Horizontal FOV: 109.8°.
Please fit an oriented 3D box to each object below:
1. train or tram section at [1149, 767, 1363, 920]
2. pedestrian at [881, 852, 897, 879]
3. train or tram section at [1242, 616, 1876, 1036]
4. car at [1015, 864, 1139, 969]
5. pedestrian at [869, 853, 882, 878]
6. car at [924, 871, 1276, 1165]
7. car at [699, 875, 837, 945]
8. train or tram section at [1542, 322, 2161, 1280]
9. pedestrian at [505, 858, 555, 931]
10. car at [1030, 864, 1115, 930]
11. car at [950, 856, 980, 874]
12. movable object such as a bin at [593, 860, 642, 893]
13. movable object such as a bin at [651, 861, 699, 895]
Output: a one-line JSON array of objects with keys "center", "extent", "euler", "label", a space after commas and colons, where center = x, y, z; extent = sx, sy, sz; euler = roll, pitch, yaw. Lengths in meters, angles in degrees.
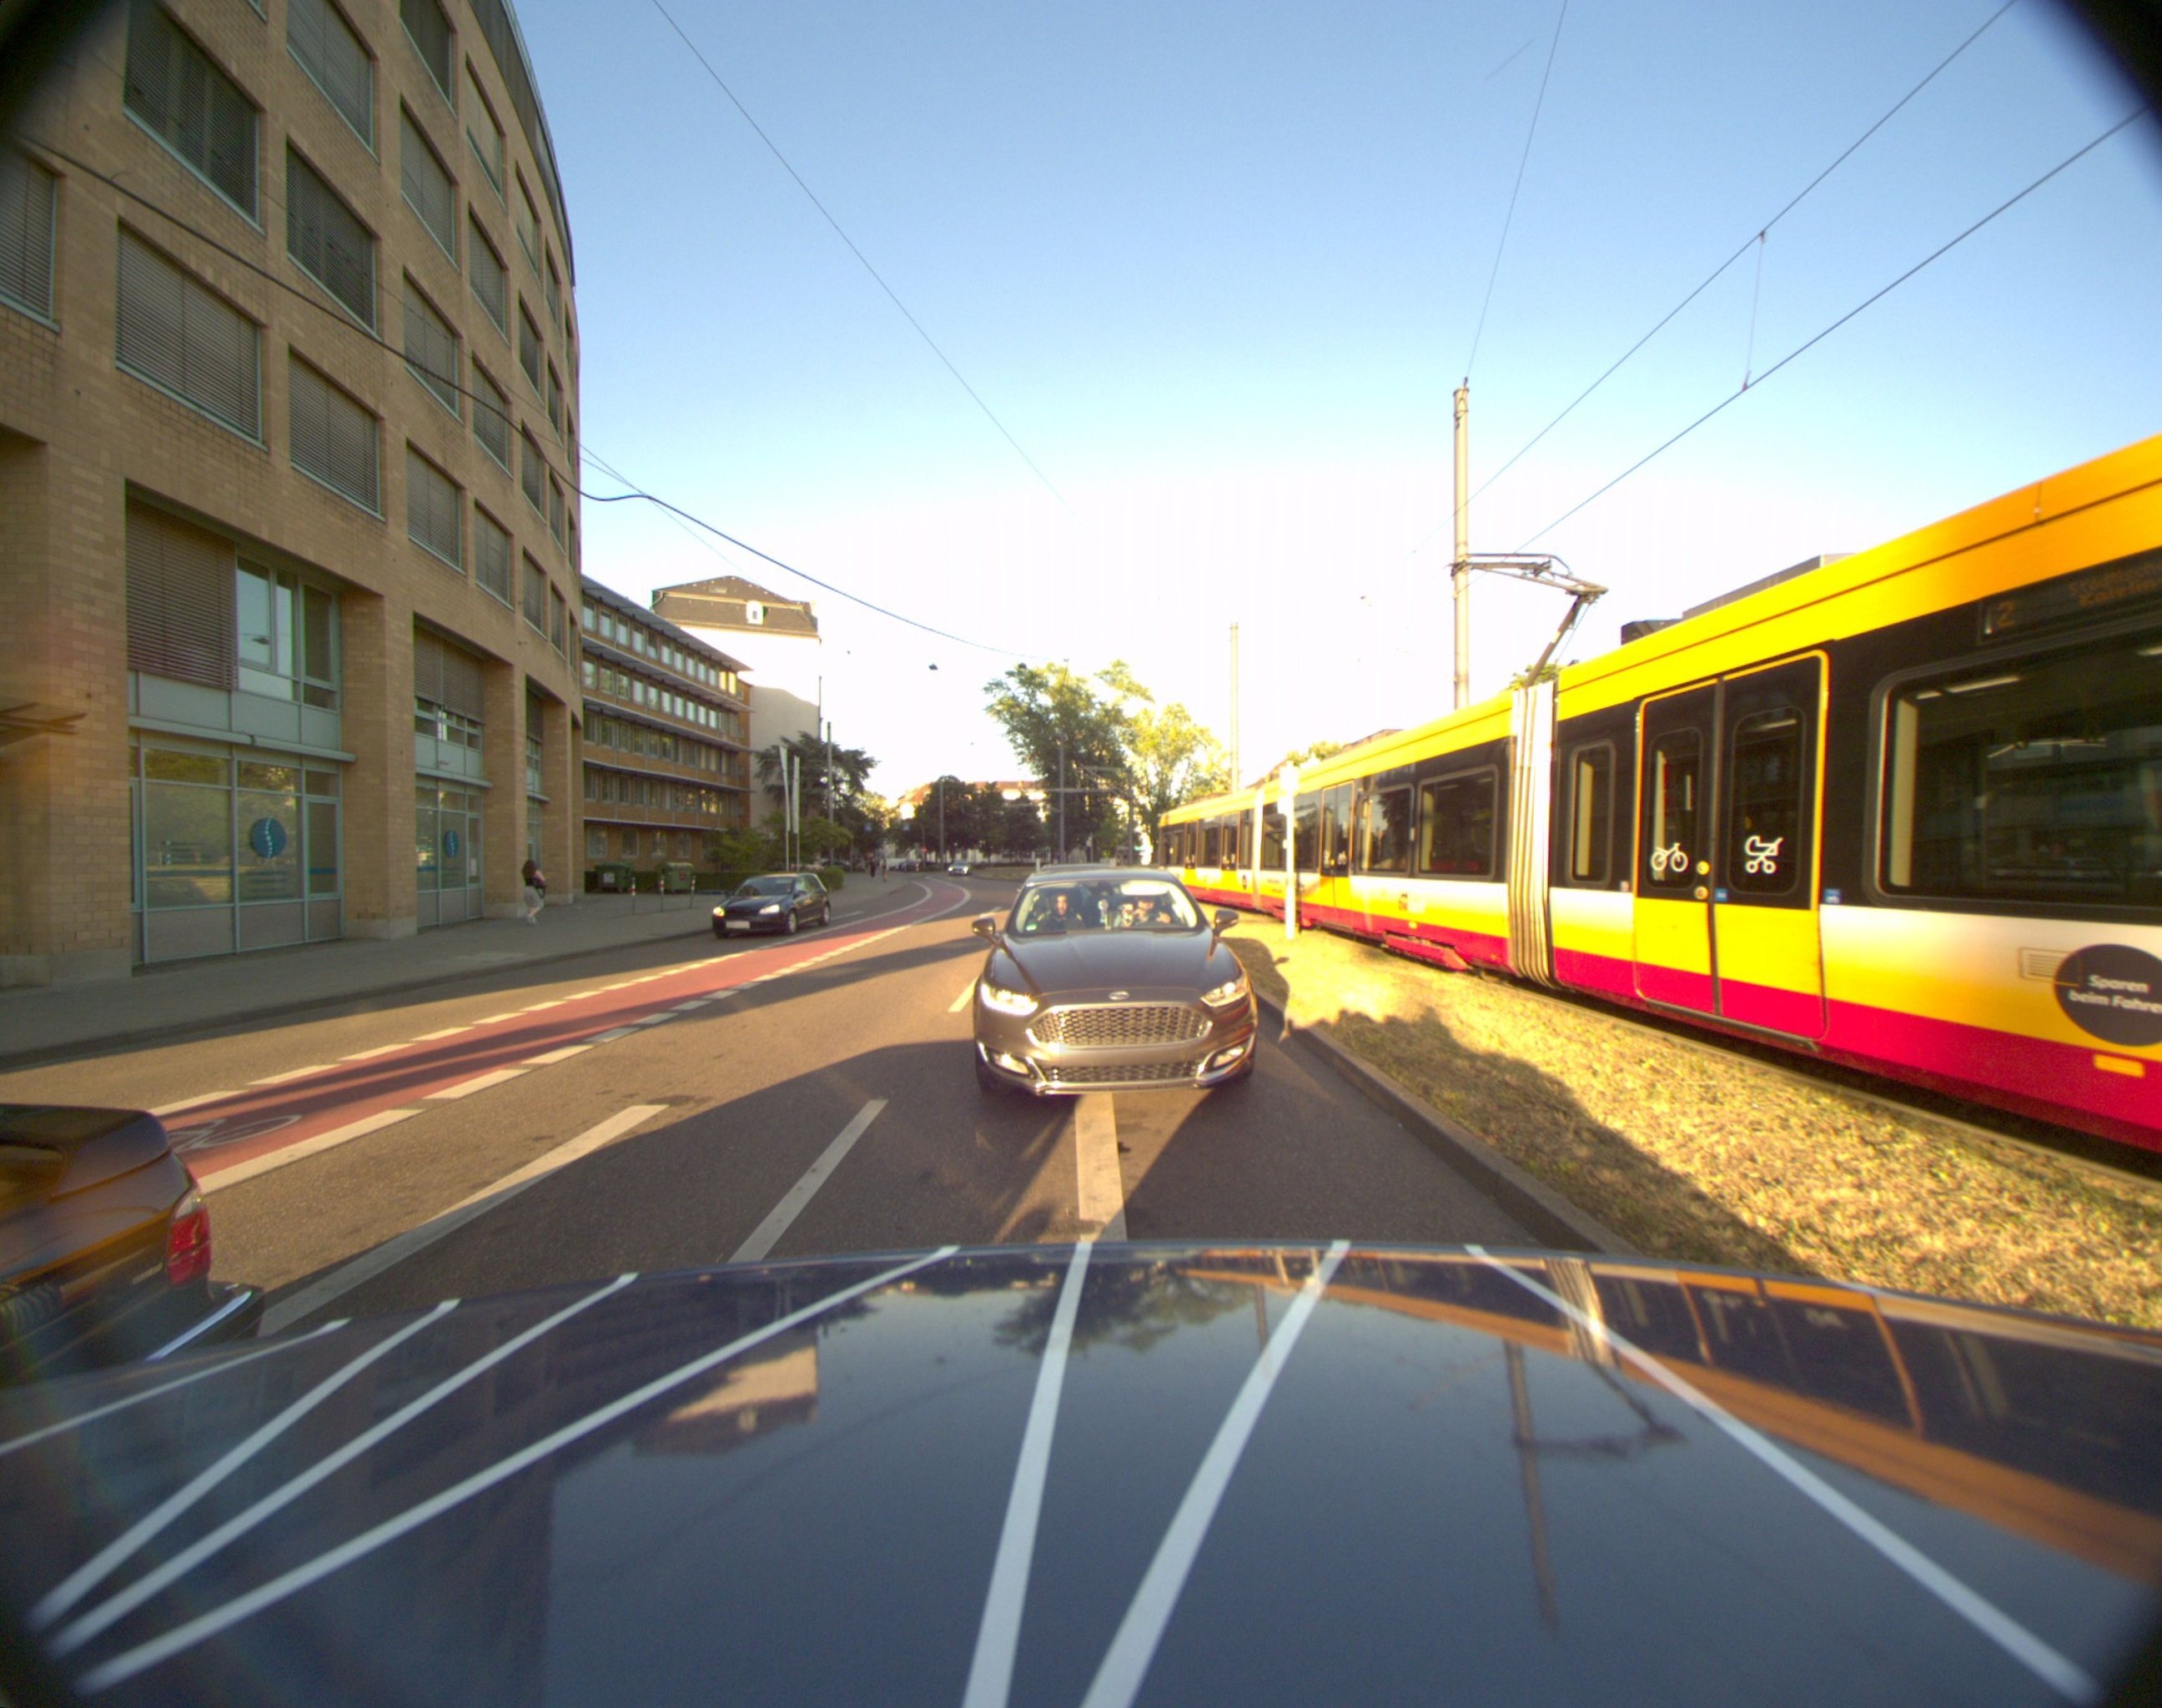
[{"center": [4.863, -0.281, 24.690], "extent": [2.914, 3.717, 12.184], "euler": [-1, 0, -6], "label": "train or tram section"}, {"center": [-13.846, 0.843, 54.878], "extent": [0.912, 1.883, 1.124], "euler": [-1, 1, -23], "label": "pedestrian"}, {"center": [5.580, -0.271, 12.877], "extent": [2.885, 3.717, 12.181], "euler": [-1, 0, -1], "label": "train or tram section"}, {"center": [-0.015, 0.988, 14.010], "extent": [1.897, 1.526, 4.705], "euler": [0, 0, 1], "label": "car"}, {"center": [-15.259, 0.845, 56.441], "extent": [0.728, 1.797, 0.724], "euler": [-1, 1, 1], "label": "pedestrian"}, {"center": [0.143, 0.939, 6.460], "extent": [1.890, 1.477, 4.725], "euler": [0, 0, 1], "label": "car"}, {"center": [-7.572, 1.297, 18.819], "extent": [1.759, 1.379, 3.999], "euler": [-2, 0, -1], "label": "car"}, {"center": [5.599, -0.206, 0.423], "extent": [2.916, 3.717, 13.218], "euler": [-1, 0, 1], "label": "train or tram section"}, {"center": [-12.930, 0.939, 17.840], "extent": [0.628, 1.672, 0.713], "euler": [-1, 1, -3], "label": "pedestrian"}, {"center": [-0.263, 1.050, 20.057], "extent": [1.999, 1.453, 4.142], "euler": [-1, 0, -2], "label": "car"}, {"center": [-11.590, 1.065, 75.956], "extent": [1.997, 1.739, 4.002], "euler": [-1, 0, 6], "label": "car"}, {"center": [-21.184, 1.029, 34.754], "extent": [1.427, 1.450, 1.332], "euler": [-1, 0, -2], "label": "movable object such as a bin"}, {"center": [-18.269, 1.057, 34.224], "extent": [1.427, 1.450, 1.332], "euler": [-1, 0, -3], "label": "movable object such as a bin"}]
